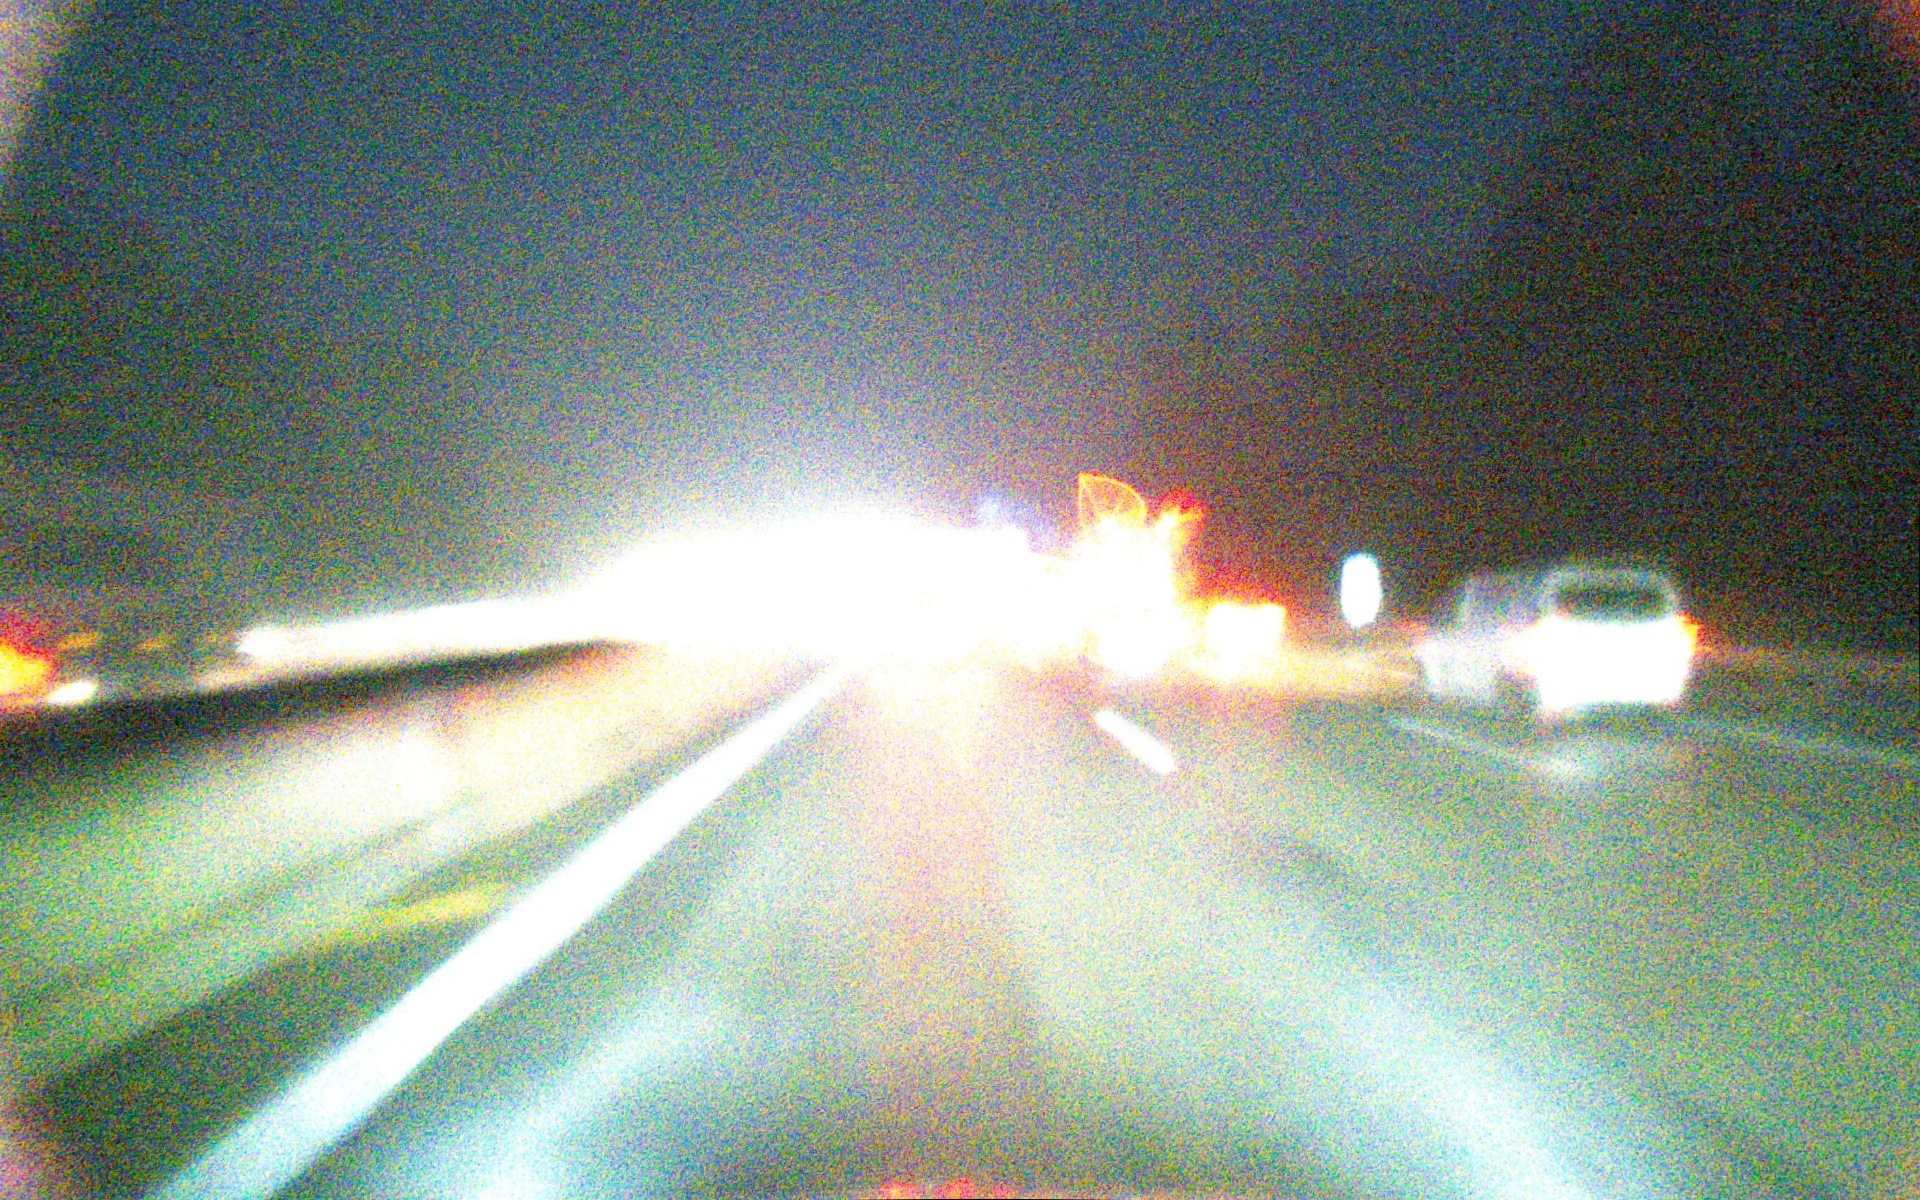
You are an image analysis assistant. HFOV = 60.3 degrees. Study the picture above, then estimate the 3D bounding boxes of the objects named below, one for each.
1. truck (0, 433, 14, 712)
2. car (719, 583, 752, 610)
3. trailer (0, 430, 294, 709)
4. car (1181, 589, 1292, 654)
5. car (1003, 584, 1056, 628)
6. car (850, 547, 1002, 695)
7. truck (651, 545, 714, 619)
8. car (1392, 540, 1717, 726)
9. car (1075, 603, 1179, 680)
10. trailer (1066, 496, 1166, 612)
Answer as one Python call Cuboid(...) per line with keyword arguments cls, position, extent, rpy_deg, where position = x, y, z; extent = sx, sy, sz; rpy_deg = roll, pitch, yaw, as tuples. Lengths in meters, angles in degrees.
Cuboid(cls="truck", position=(-16.475, -0.375, 23.065), extent=(2.992, 4.368, 6.082), rpy_deg=(-2, 0, -1))
Cuboid(cls="car", position=(-14.536, -0.251, 107.403), extent=(1.644, 1.625, 4.347), rpy_deg=(-1, 1, -2))
Cuboid(cls="trailer", position=(-16.569, -0.468, 30.271), extent=(2.986, 4.368, 14.406), rpy_deg=(-2, 0, -1))
Cuboid(cls="car", position=(7.028, 0.497, 42.470), extent=(1.856, 1.512, 4.960), rpy_deg=(1, 1, -2))
Cuboid(cls="car", position=(2.670, 0.219, 64.346), extent=(1.846, 1.616, 3.999), rpy_deg=(1, 0, -1))
Cuboid(cls="car", position=(-0.708, 0.335, 32.635), extent=(2.655, 2.578, 5.828), rpy_deg=(-2, 1, -2))
Cuboid(cls="truck", position=(-17.267, -1.165, 103.224), extent=(2.828, 4.410, 6.745), rpy_deg=(1, 1, -1))
Cuboid(cls="car", position=(7.331, 0.333, 21.121), extent=(2.005, 2.008, 5.405), rpy_deg=(-2, 1, -2))
Cuboid(cls="car", position=(3.310, 0.797, 33.345), extent=(1.580, 1.437, 3.791), rpy_deg=(1, 0, -2))
Cuboid(cls="trailer", position=(6.187, -1.735, 67.691), extent=(2.746, 4.286, 12.094), rpy_deg=(1, 0, -1))
